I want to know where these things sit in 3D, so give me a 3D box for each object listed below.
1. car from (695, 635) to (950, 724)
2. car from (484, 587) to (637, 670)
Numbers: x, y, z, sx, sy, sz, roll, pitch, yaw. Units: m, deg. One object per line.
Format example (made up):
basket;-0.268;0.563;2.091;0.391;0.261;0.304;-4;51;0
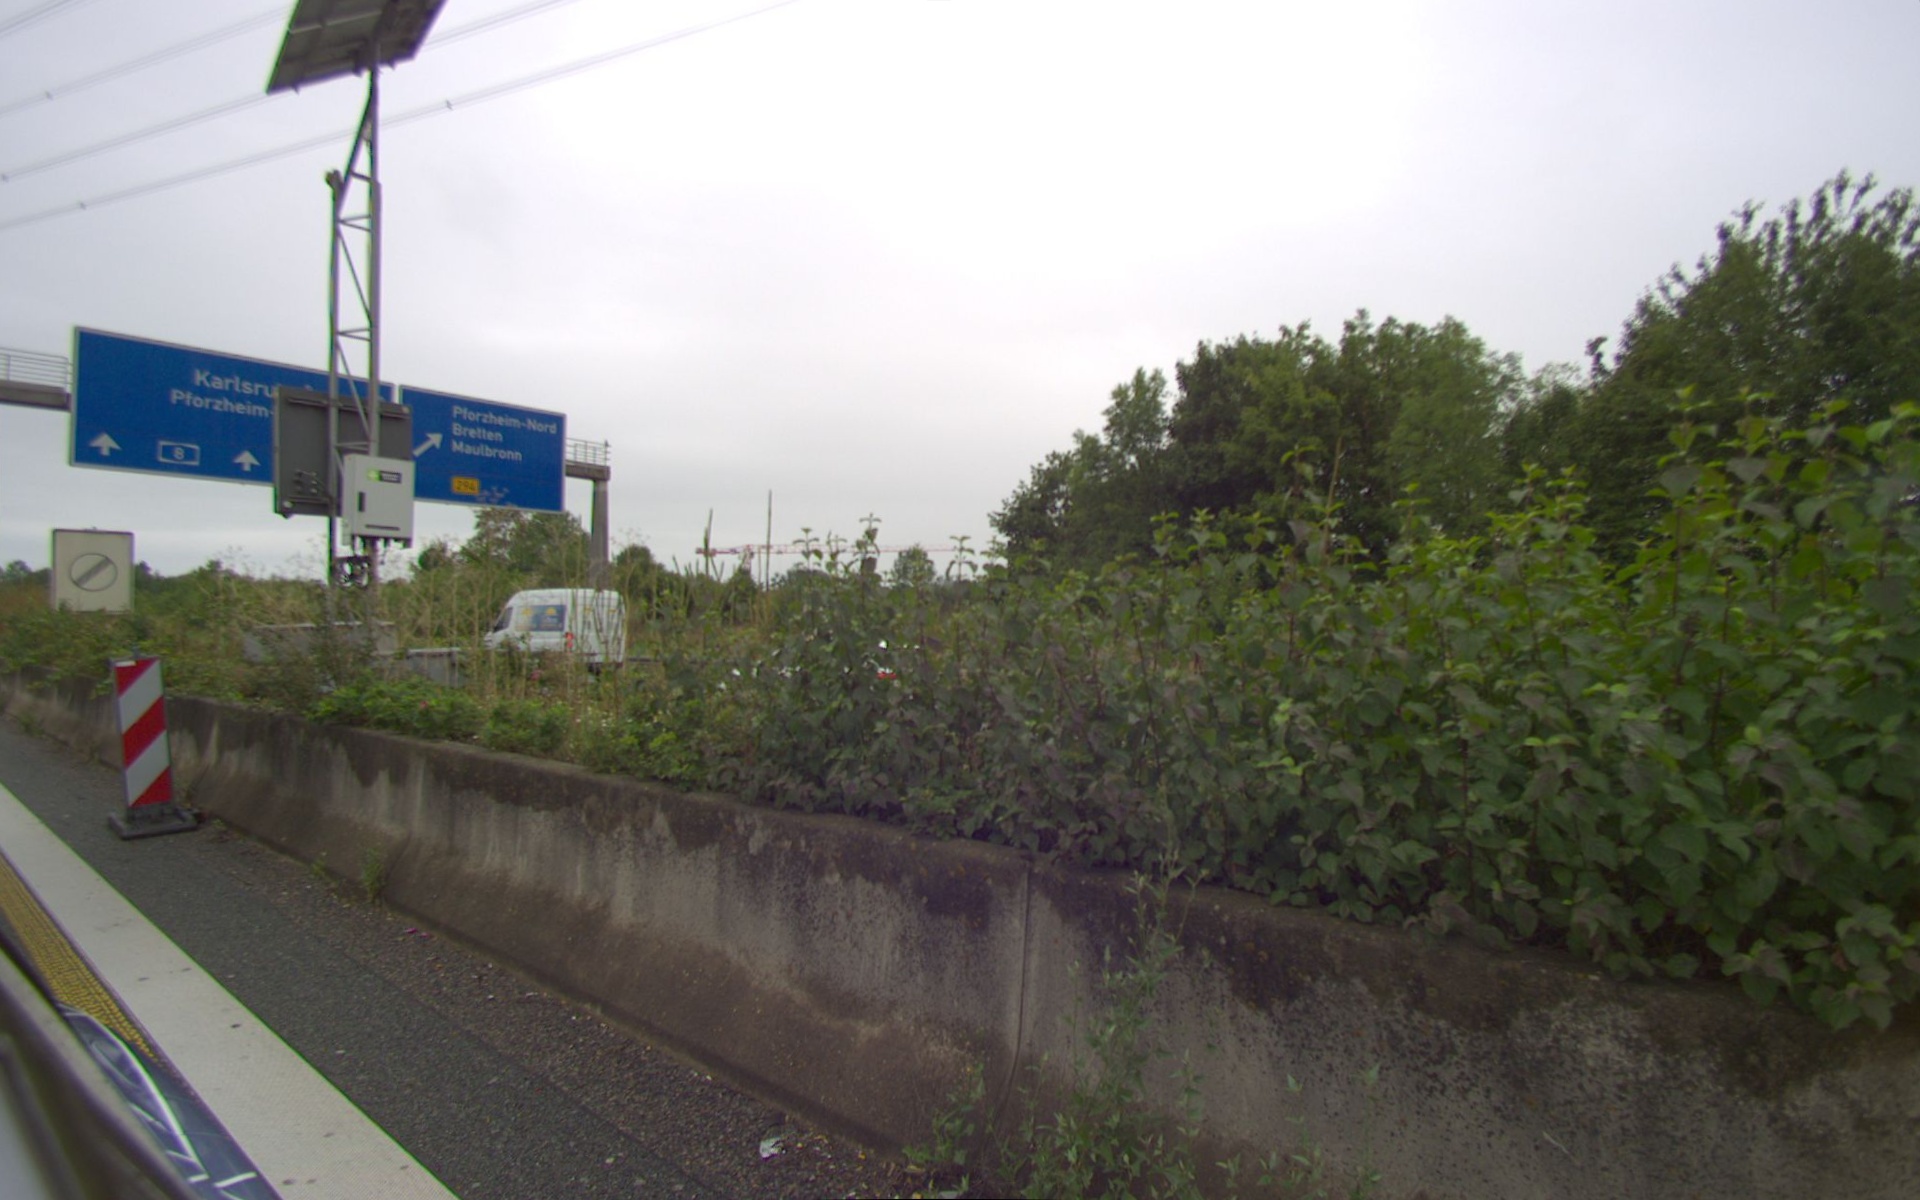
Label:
car;-2.306;1.192;16.419;3.998;1.200;1.973;-1;-1;41
car;-12.085;0.838;30.458;5.201;2.282;2.157;-1;-1;41
